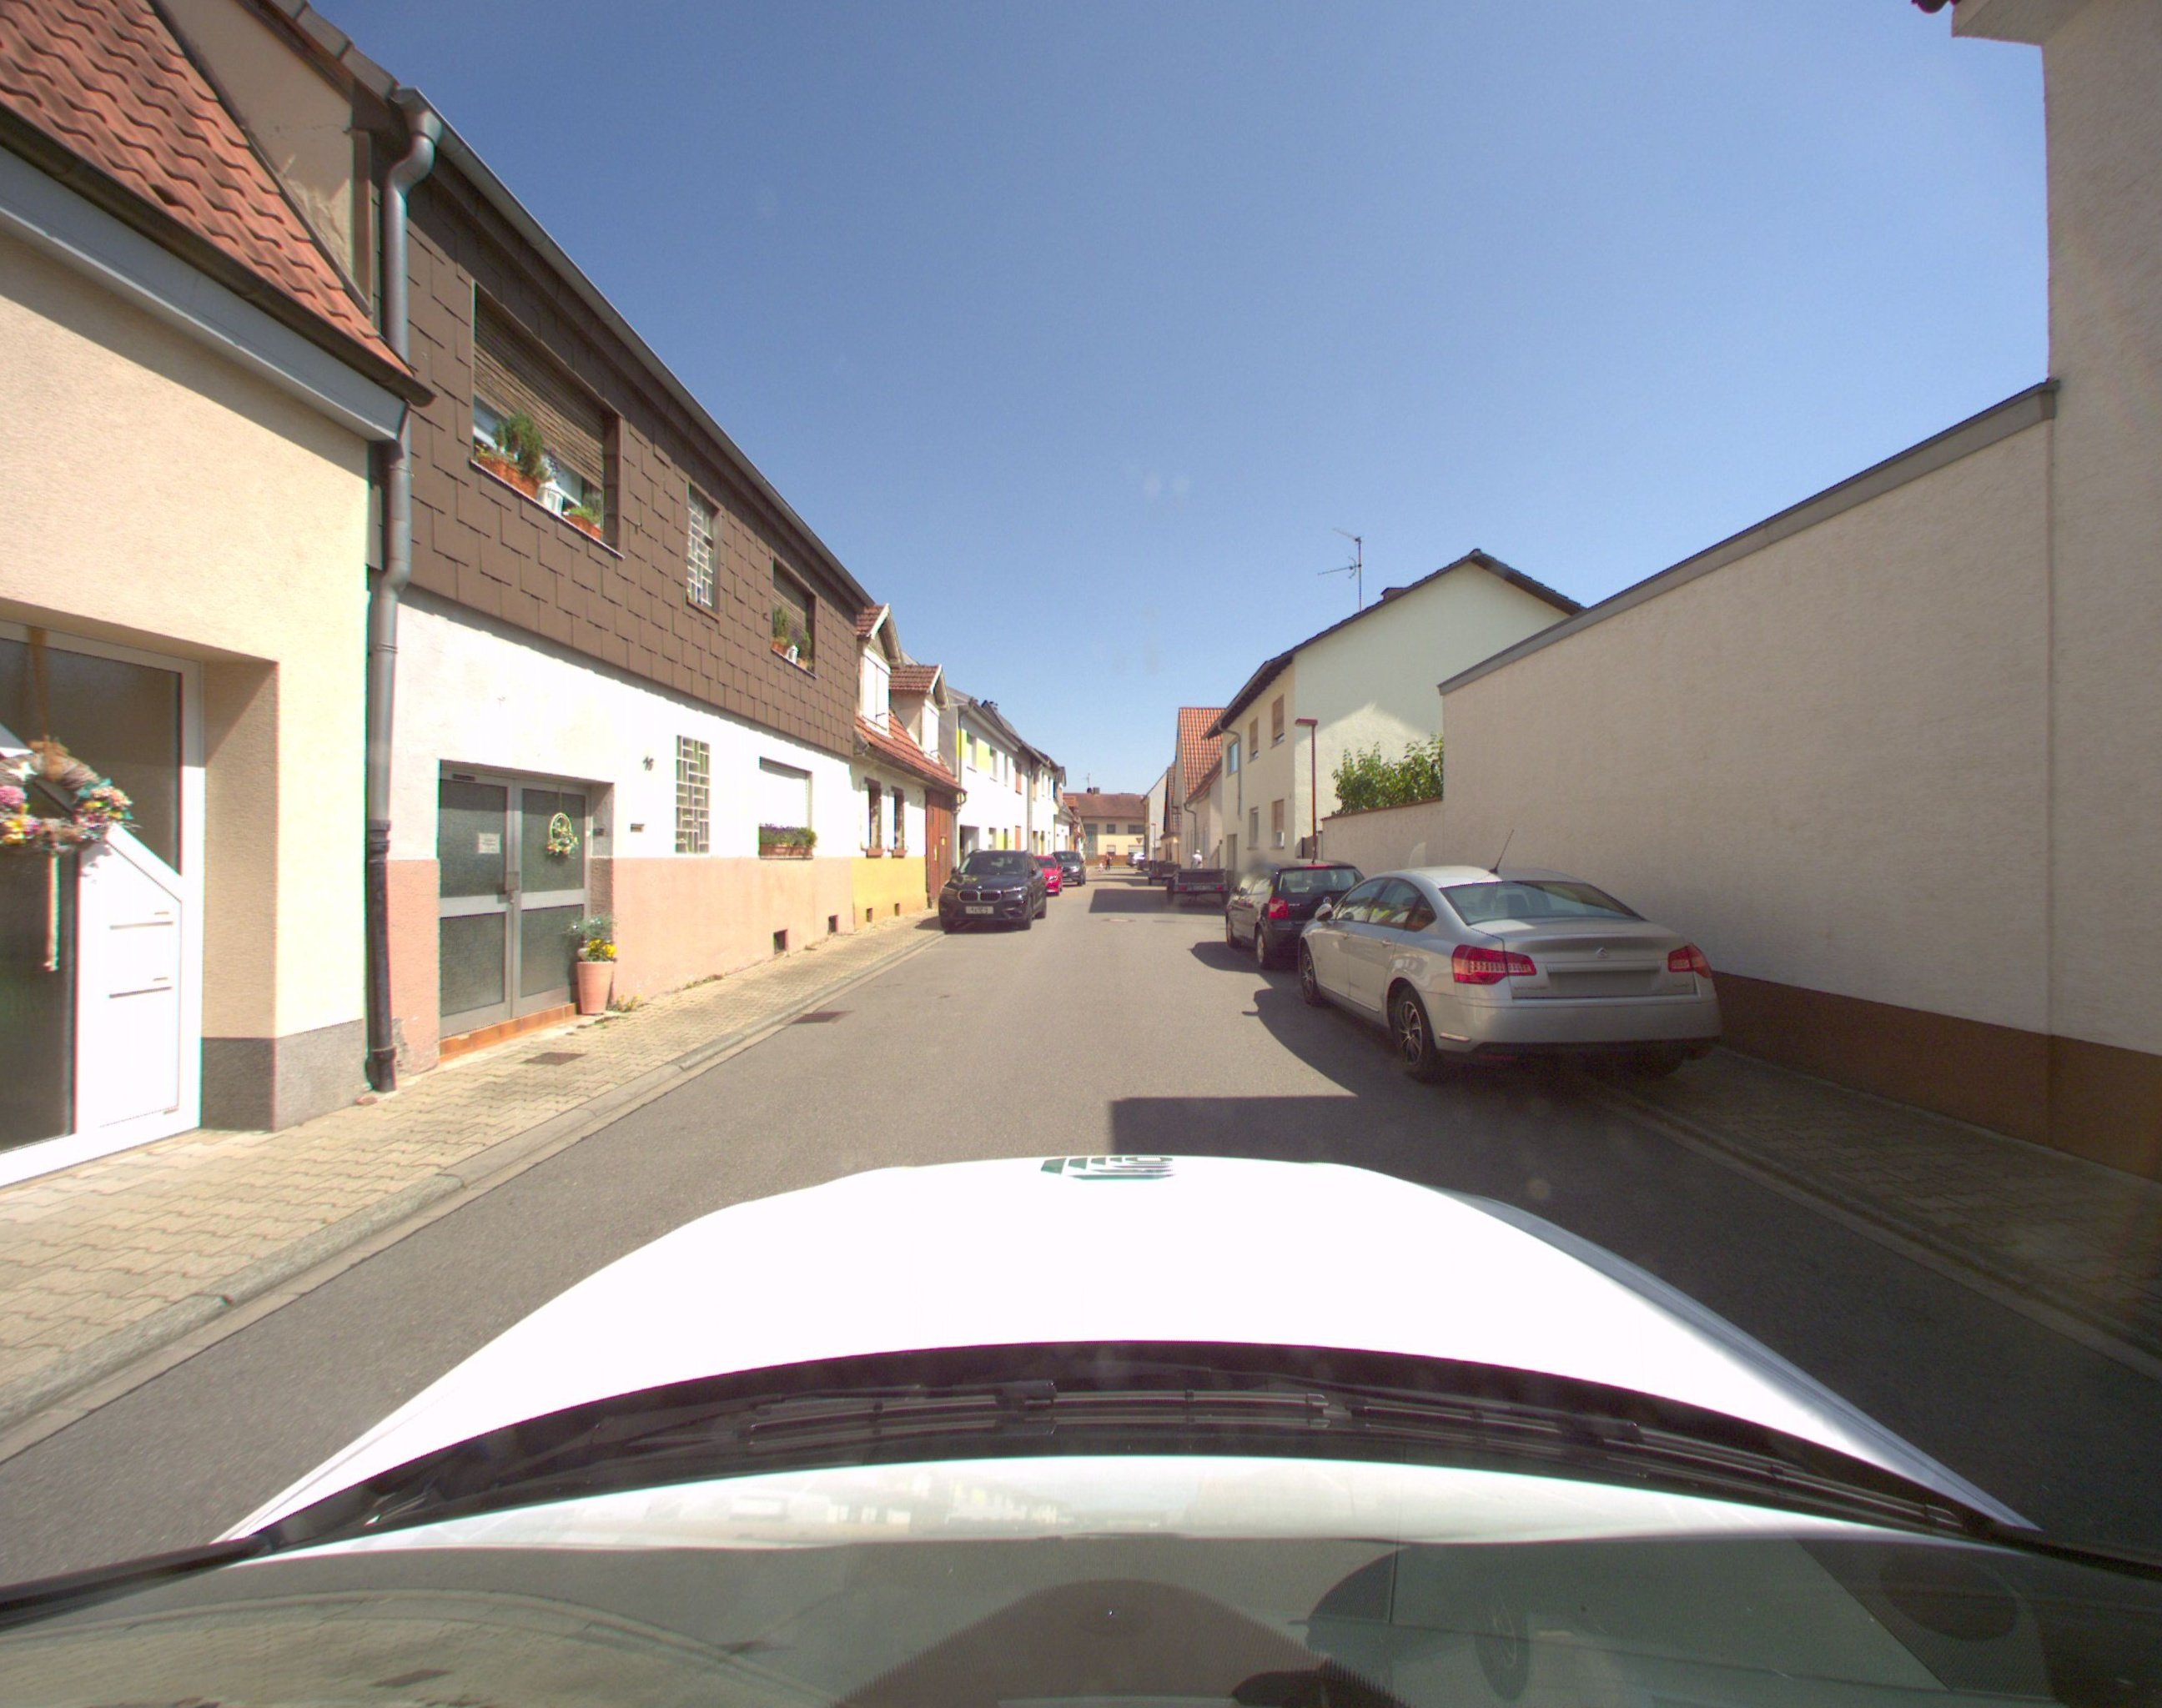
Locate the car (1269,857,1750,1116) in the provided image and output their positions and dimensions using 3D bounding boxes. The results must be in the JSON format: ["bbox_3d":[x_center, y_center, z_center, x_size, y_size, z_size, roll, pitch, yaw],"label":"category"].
[{"bbox_3d":[3.126,0.798,7.331,1.784,1.481,4.935,-2,0,1],"label":"car"}]

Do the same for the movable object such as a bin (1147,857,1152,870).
[{"bbox_3d":[6.232,0.850,73.960,0.424,1.128,0.414,-1,0,0],"label":"movable object such as a bin"}]

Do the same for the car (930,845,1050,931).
[{"bbox_3d":[-1.785,0.645,17.467,1.792,1.574,4.618,-1,0,3],"label":"car"}]

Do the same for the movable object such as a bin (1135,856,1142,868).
[{"bbox_3d":[5.283,0.757,75.159,0.567,1.128,0.453,-1,0,-1],"label":"movable object such as a bin"}]

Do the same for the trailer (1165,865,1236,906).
[{"bbox_3d":[3.514,0.906,24.540,1.810,1.090,3.484,0,0,3],"label":"trailer"}]

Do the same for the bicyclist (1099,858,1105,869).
[{"bbox_3d":[1.853,0.817,71.506,0.464,0.959,0.349,0,-1,-27],"label":"bicyclist"}]

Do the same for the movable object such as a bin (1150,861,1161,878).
[{"bbox_3d":[4.544,0.925,49.560,0.583,1.033,0.596,-1,0,1],"label":"movable object such as a bin"}]

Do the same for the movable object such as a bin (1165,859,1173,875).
[{"bbox_3d":[6.072,0.891,56.068,0.456,1.087,0.502,-1,-1,1],"label":"movable object such as a bin"}]

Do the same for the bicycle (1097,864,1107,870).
[{"bbox_3d":[1.855,1.130,71.518,0.443,0.567,0.931,0,0,-26],"label":"bicycle"}]

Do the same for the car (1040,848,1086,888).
[{"bbox_3d":[-0.785,0.604,37.885,1.793,1.704,4.490,-2,0,2],"label":"car"}]

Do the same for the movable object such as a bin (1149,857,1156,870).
[{"bbox_3d":[6.269,0.840,71.391,0.523,1.128,0.366,-1,-1,-1],"label":"movable object such as a bin"}]

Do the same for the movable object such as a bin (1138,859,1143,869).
[{"bbox_3d":[5.466,0.922,74.544,0.422,0.975,0.473,-1,0,0],"label":"movable object such as a bin"}]

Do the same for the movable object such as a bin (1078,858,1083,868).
[{"bbox_3d":[-0.046,0.887,80.732,0.447,0.921,0.404,-1,0,-1],"label":"movable object such as a bin"}]

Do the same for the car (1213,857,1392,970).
[{"bbox_3d":[3.188,0.776,12.567,1.643,1.436,4.134,-1,0,0],"label":"car"}]

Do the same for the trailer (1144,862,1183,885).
[{"bbox_3d":[3.959,0.907,39.487,1.693,1.033,3.483,0,0,2],"label":"trailer"}]

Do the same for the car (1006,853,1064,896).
[{"bbox_3d":[-1.624,0.702,30.082,1.794,1.441,4.487,-1,0,1],"label":"car"}]

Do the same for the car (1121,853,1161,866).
[{"bbox_3d":[7.543,0.737,102.530,4.777,1.585,1.785,-1,0,-29],"label":"car"}]

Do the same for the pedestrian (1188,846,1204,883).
[{"bbox_3d":[5.032,0.459,35.658,0.593,1.565,0.557,0,-4,0],"label":"pedestrian"}]

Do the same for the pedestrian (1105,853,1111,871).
[{"bbox_3d":[2.386,0.691,71.793,0.411,1.610,0.367,-1,-1,-8],"label":"pedestrian"}]
